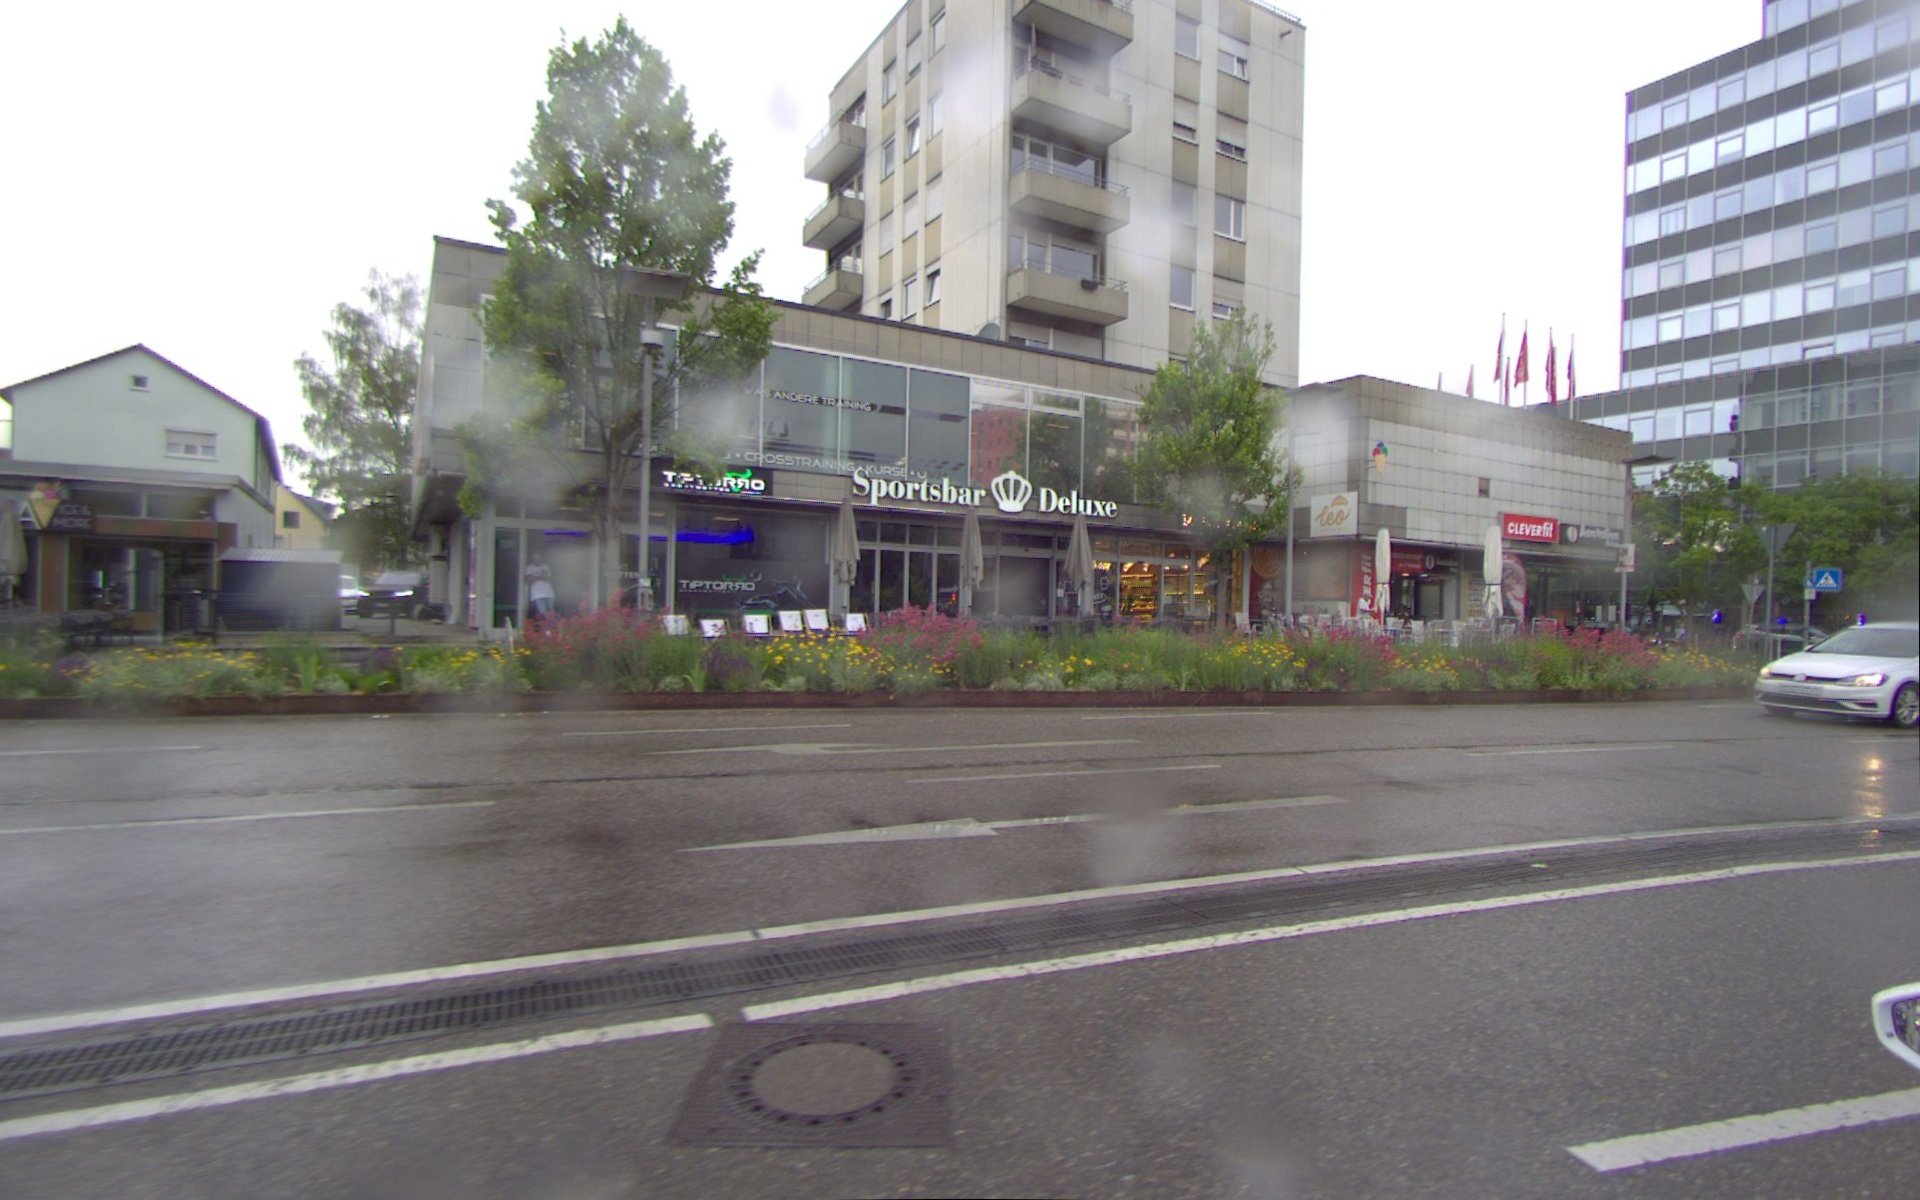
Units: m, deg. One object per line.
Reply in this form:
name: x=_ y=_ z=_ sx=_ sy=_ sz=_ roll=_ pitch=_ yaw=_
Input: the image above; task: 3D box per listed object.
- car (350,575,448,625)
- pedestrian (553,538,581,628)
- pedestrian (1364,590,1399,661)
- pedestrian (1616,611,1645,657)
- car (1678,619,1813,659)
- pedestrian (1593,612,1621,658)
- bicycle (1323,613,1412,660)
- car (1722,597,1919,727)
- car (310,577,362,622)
car: x=-21.632 y=0.010 z=38.895 sx=1.836 sy=1.790 sz=3.996 roll=1 pitch=0 yaw=-6
pedestrian: x=-8.265 y=-0.348 z=21.136 sx=0.493 sy=1.873 sz=0.425 roll=1 pitch=0 yaw=-20
pedestrian: x=10.441 y=0.610 z=24.869 sx=0.645 sy=1.716 sz=0.714 roll=1 pitch=0 yaw=32
pedestrian: x=20.047 y=1.007 z=30.057 sx=0.526 sy=1.366 sz=0.497 roll=1 pitch=0 yaw=5
car: x=32.484 y=1.580 z=41.672 sx=1.844 sy=1.439 sz=4.035 roll=1 pitch=0 yaw=-24
pedestrian: x=19.415 y=1.051 z=30.149 sx=0.526 sy=1.366 sz=0.497 roll=1 pitch=0 yaw=3
bicycle: x=11.733 y=1.038 z=29.028 sx=0.687 sy=1.239 sz=2.536 roll=1 pitch=0 yaw=-26
car: x=13.902 y=0.874 z=14.893 sx=4.432 sy=1.705 sz=1.885 roll=1 pitch=0 yaw=-17
car: x=-25.986 y=-0.034 z=41.891 sx=1.707 sy=1.793 sz=3.967 roll=1 pitch=0 yaw=-30
